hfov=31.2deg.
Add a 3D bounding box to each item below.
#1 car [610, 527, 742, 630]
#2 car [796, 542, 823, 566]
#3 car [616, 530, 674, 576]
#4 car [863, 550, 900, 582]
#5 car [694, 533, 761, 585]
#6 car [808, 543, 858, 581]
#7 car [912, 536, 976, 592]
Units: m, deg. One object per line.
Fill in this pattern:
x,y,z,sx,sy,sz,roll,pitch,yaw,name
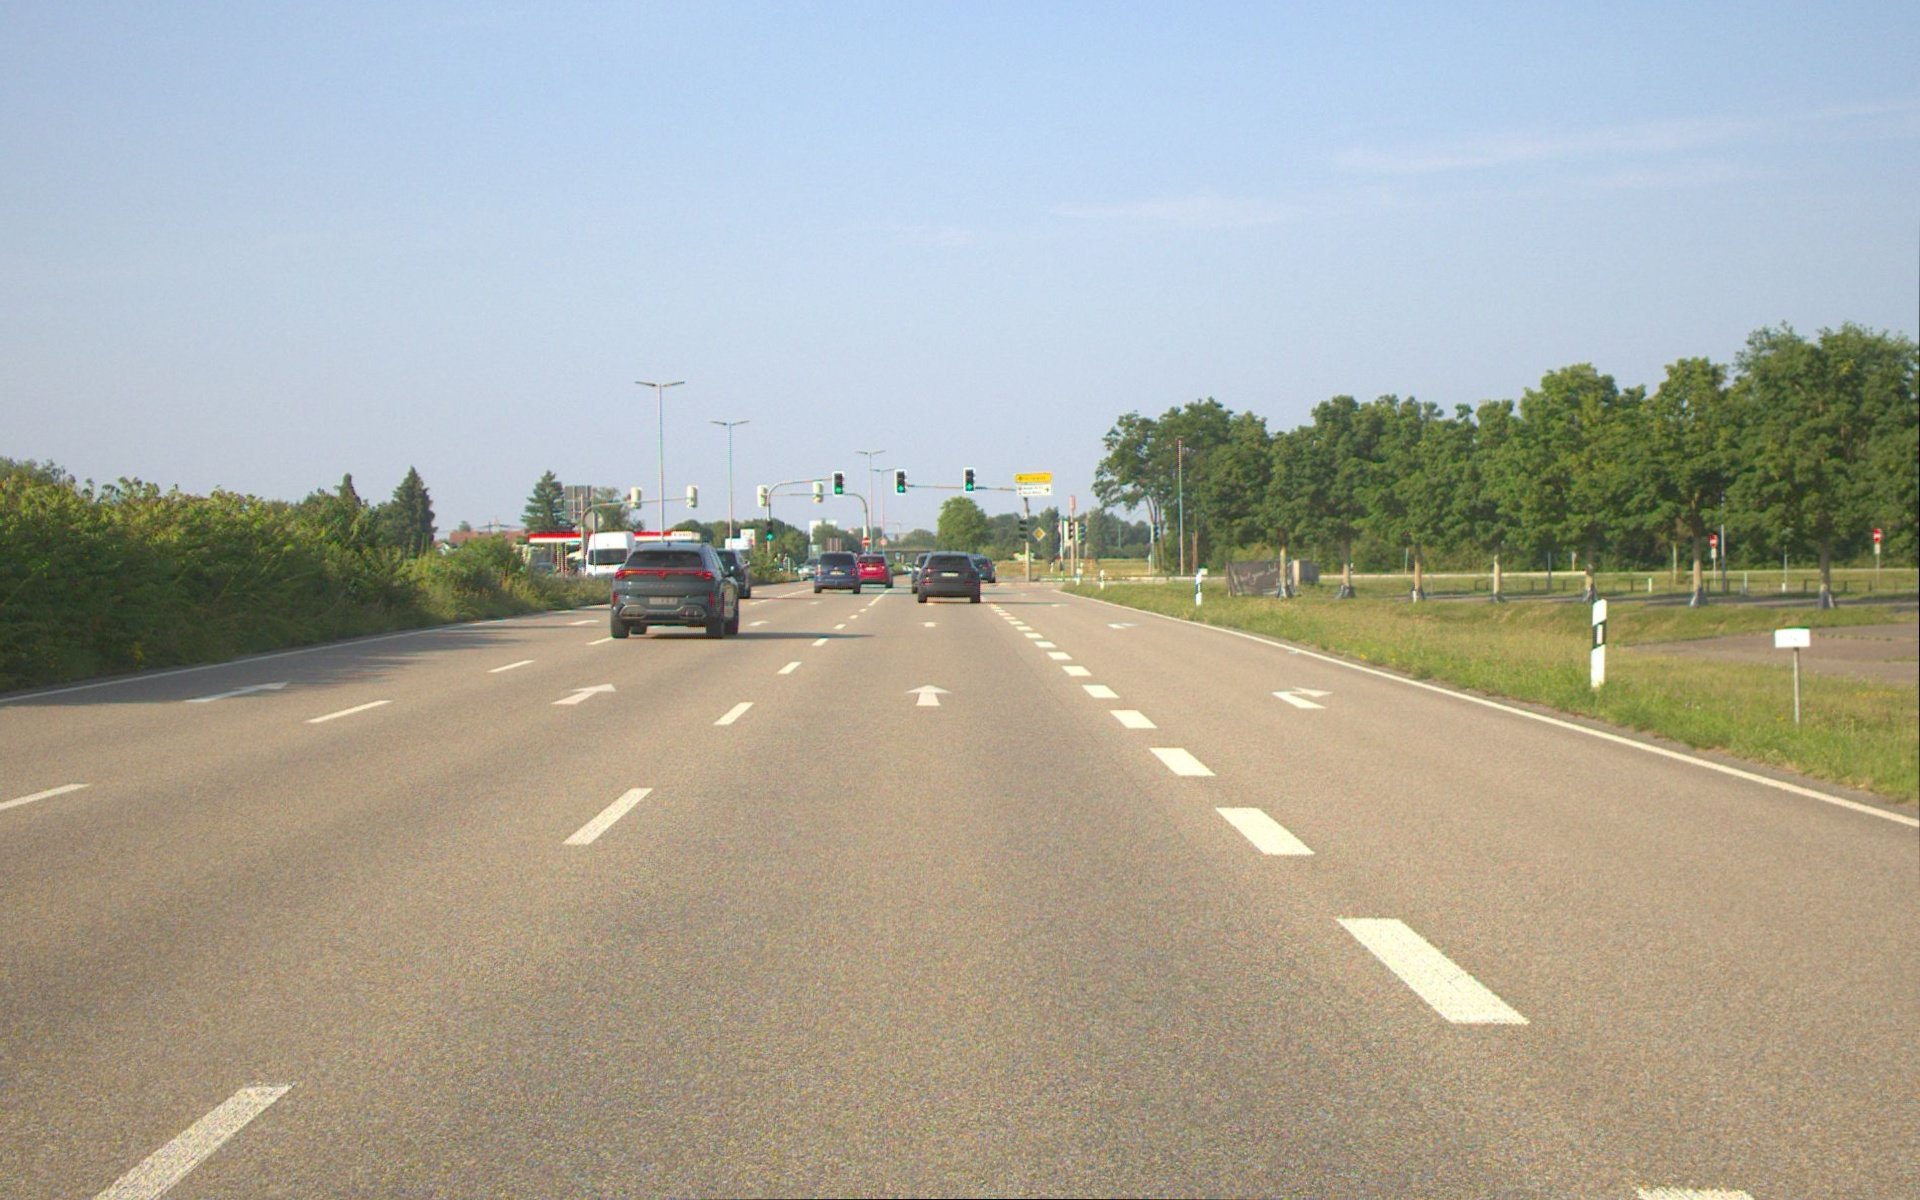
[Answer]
-4.731,-0.379,57.707,1.845,1.606,4.401,2,1,-1,car
-9.810,-3.023,224.710,1.600,1.527,4.000,2,1,-1,car
-14.494,-2.162,158.566,2.161,2.028,6.323,1,0,-1,car
-3.762,-1.634,165.114,1.647,1.458,3.981,2,1,-1,car
-7.770,-1.382,115.056,1.932,1.674,4.401,2,1,-1,car
-5.015,-1.524,136.525,1.812,1.458,4.401,2,1,-1,car
-0.518,-1.151,108.479,1.932,1.674,4.401,2,1,-1,car
